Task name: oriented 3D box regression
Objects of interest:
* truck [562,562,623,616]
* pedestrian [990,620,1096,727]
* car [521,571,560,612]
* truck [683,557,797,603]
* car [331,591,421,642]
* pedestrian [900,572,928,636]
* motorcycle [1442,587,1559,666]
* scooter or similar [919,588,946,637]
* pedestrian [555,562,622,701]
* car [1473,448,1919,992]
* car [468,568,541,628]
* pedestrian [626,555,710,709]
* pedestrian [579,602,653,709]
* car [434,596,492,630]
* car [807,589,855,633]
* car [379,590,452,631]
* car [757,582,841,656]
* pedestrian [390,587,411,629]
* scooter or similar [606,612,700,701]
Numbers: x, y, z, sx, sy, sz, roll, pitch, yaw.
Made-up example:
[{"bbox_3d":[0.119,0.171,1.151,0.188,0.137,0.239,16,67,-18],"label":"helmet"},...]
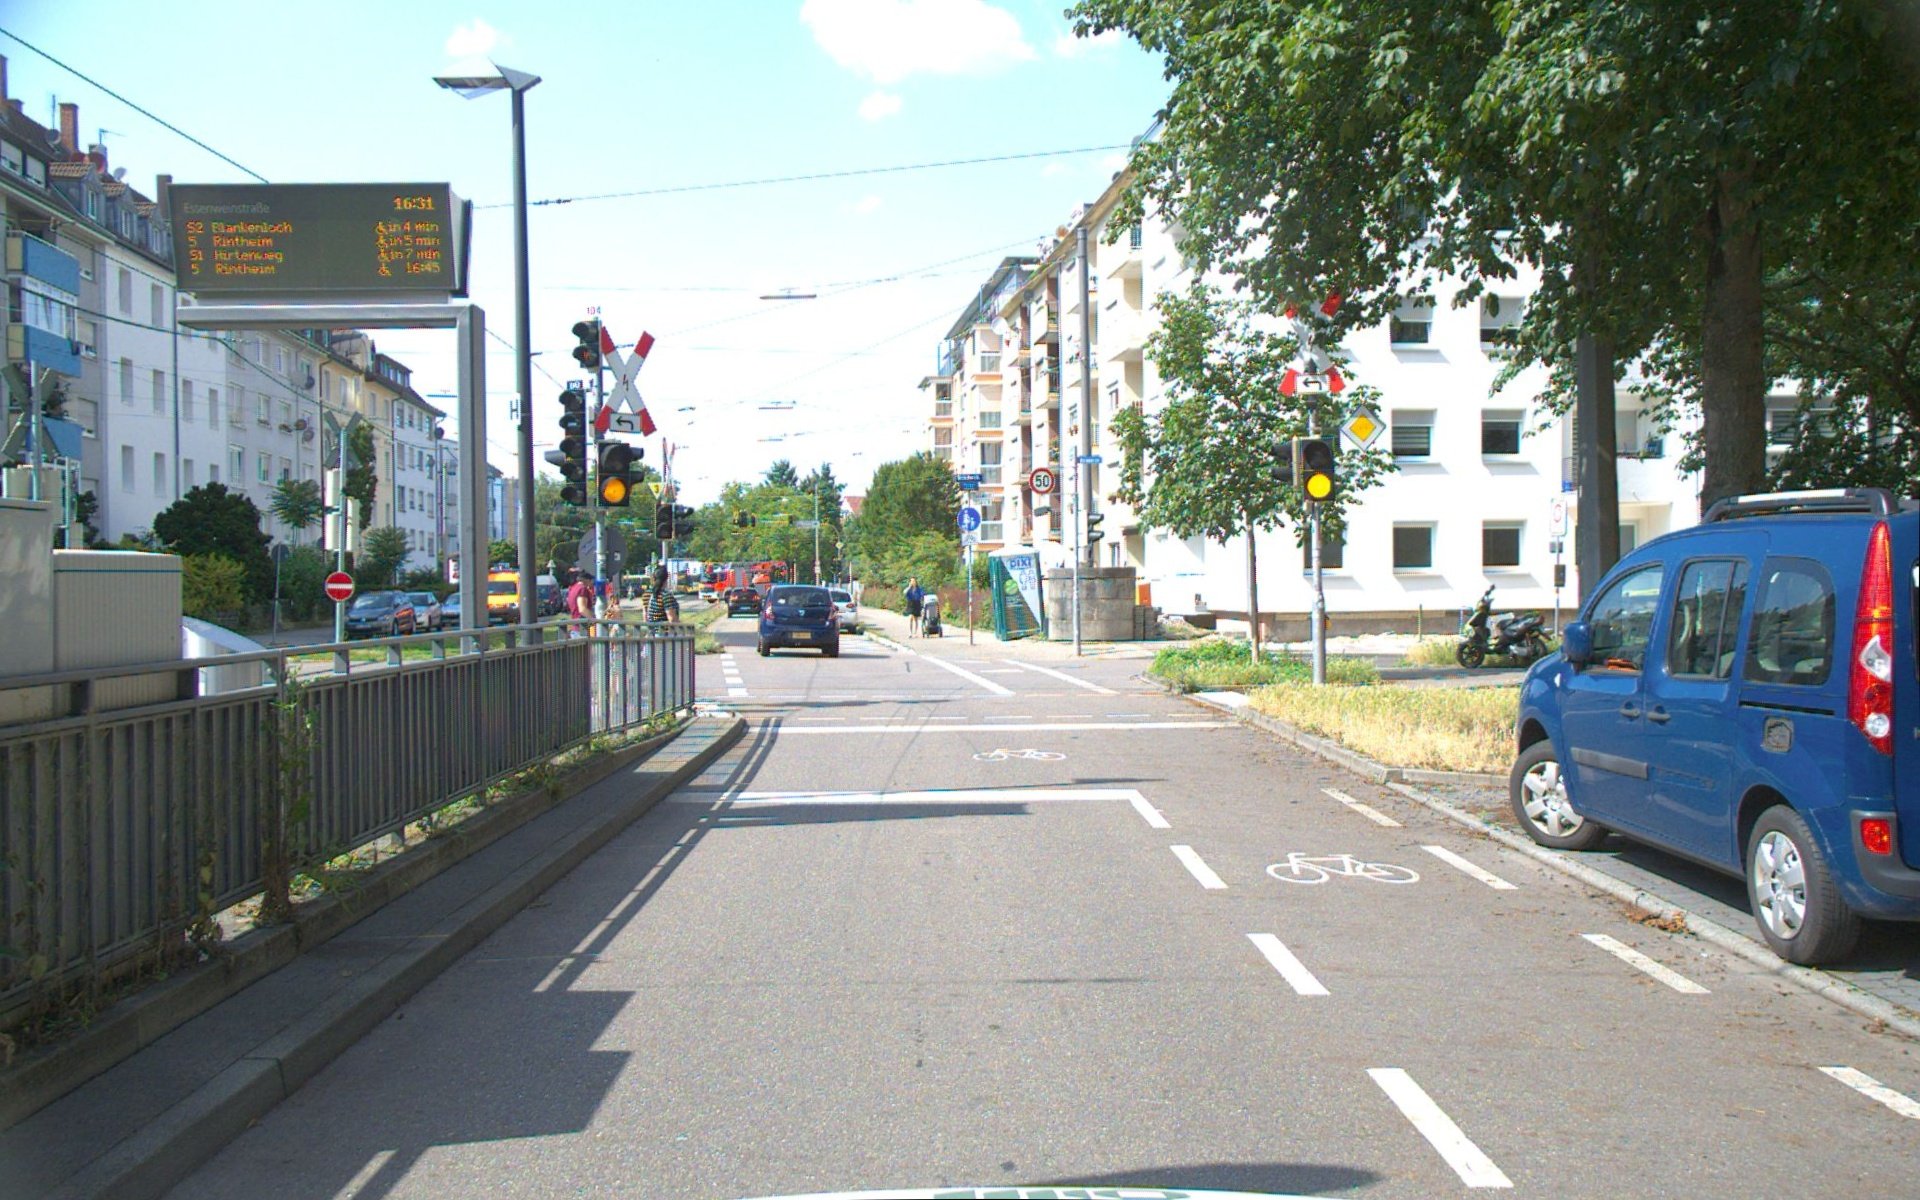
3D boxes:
[{"bbox_3d":[-23.169,-0.675,104.644,2.545,3.241,8.375,-1,0,-4],"label":"truck"},{"bbox_3d":[1.682,1.483,34.785,1.953,2.049,3.999,1,0,-1],"label":"pedestrian"},{"bbox_3d":[-25.603,-0.524,101.055,1.743,2.441,4.686,1,0,-8],"label":"car"},{"bbox_3d":[-17.879,-1.615,135.395,2.626,3.531,10.112,0,0,40],"label":"truck"},{"bbox_3d":[-20.054,0.555,56.995,1.955,1.674,3.996,1,0,-5],"label":"car"},{"bbox_3d":[-1.344,0.108,48.247,0.687,1.820,1.029,-4,0,-3],"label":"pedestrian"},{"bbox_3d":[9.025,0.447,27.685,0.566,1.236,1.824,-6,2,-35],"label":"motorcycle"},{"bbox_3d":[-0.787,0.354,47.349,0.649,1.326,0.868,-4,1,-2],"label":"scooter or similar"},{"bbox_3d":[-4.587,0.388,20.476,0.692,1.677,0.636,1,0,-5],"label":"pedestrian"},{"bbox_3d":[4.038,0.359,7.997,1.785,1.929,4.184,-2,1,0],"label":"car"},{"bbox_3d":[-18.220,-0.083,66.364,1.955,2.315,4.828,0,0,-5],"label":"car"},{"bbox_3d":[-3.344,0.356,18.891,0.832,1.697,0.795,-1,0,-17],"label":"pedestrian"},{"bbox_3d":[-4.010,0.634,19.257,0.630,1.201,0.791,-1,0,-29],"label":"pedestrian"},{"bbox_3d":[-21.866,0.555,72.884,1.734,1.467,3.994,1,0,-7],"label":"car"},{"bbox_3d":[-4.514,0.373,57.720,1.591,1.490,3.506,1,0,-6],"label":"car"},{"bbox_3d":[-20.702,0.382,62.978,1.733,1.467,3.996,1,0,-5],"label":"car"},{"bbox_3d":[-3.532,0.399,36.403,1.710,1.533,3.995,1,0,-5],"label":"car"},{"bbox_3d":[-24.491,0.350,72.384,0.692,1.825,0.863,-1,0,-10],"label":"pedestrian"},{"bbox_3d":[-3.800,0.693,20.533,1.079,1.074,0.649,1,0,-7],"label":"scooter or similar"}]
